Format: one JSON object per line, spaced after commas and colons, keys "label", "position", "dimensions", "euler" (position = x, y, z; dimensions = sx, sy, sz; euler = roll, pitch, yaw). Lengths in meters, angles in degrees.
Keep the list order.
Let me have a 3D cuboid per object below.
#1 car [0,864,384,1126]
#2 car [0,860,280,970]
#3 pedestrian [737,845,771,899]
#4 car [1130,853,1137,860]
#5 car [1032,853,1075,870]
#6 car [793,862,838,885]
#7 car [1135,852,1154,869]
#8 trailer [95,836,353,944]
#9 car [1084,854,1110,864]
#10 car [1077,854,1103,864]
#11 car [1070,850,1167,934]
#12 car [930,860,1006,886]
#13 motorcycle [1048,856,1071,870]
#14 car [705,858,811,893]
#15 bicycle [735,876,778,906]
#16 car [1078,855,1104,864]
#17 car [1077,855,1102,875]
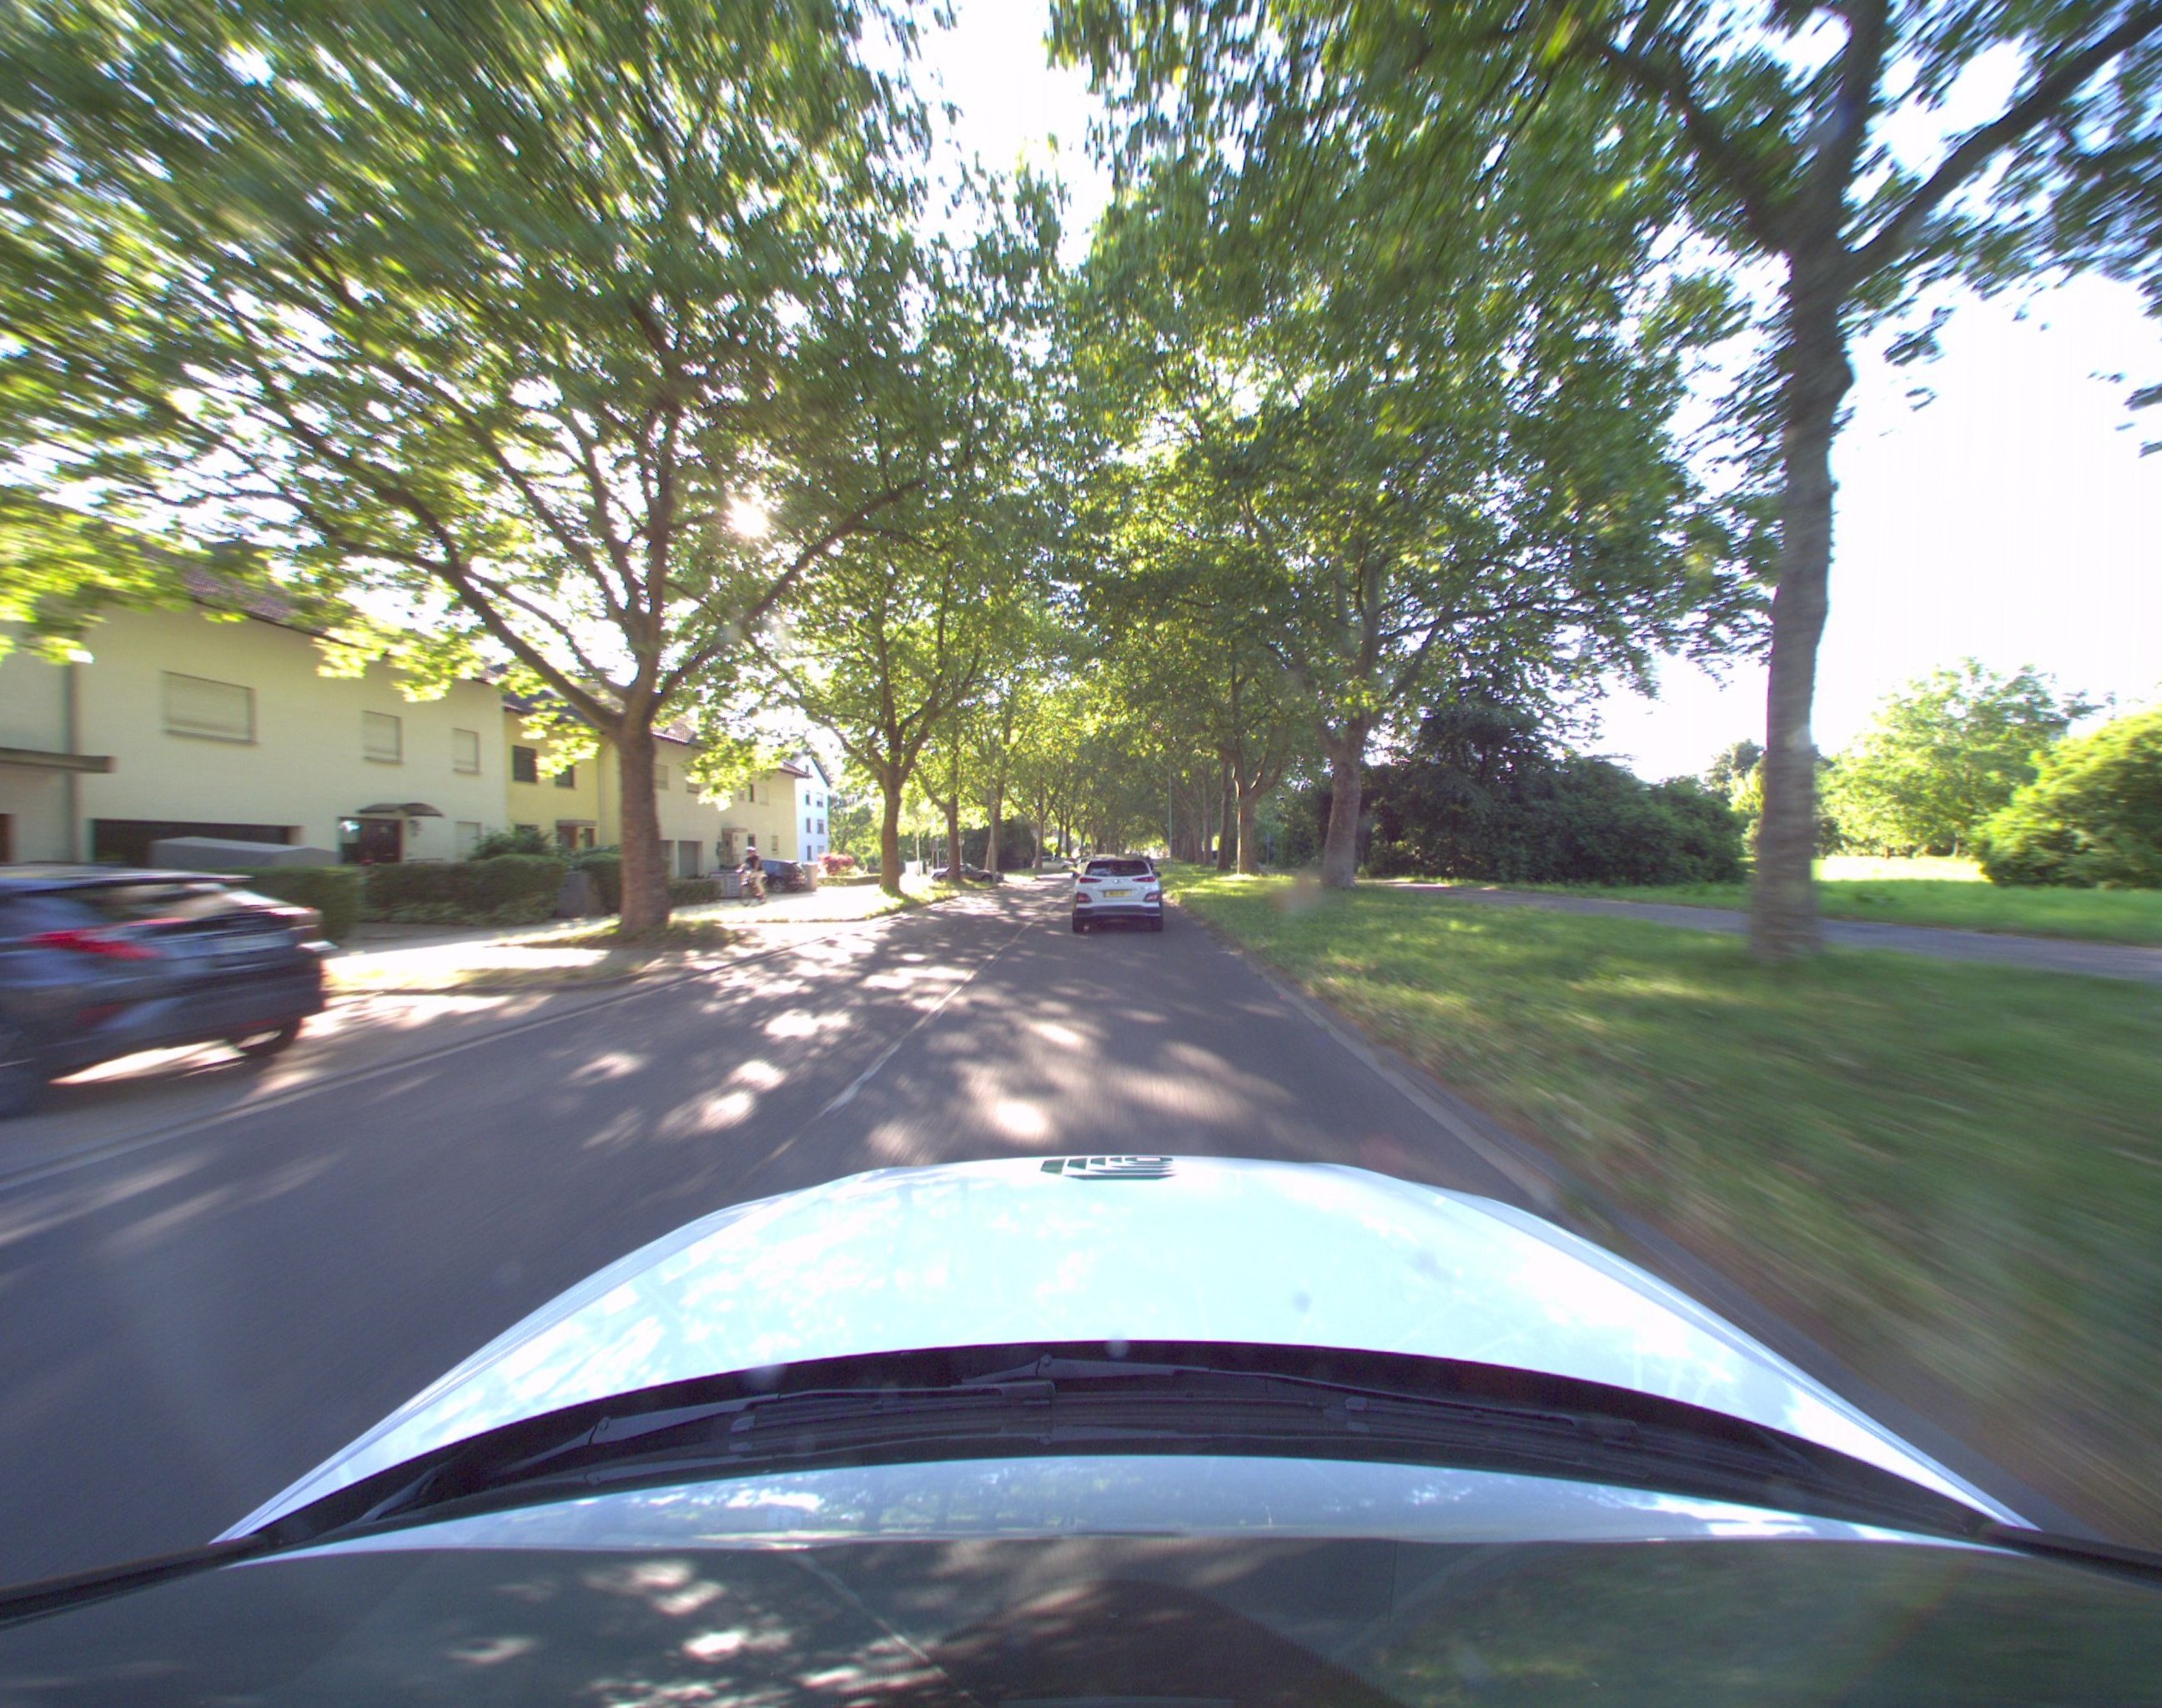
{"label": "car", "position": [-7.701, 0.875, 5.723], "dimensions": [3.975, 1.518, 1.817], "euler": [-1, 0, -1]}
{"label": "car", "position": [-16.090, 0.927, 13.319], "dimensions": [3.971, 1.477, 2.001], "euler": [2, 0, 2]}
{"label": "pedestrian", "position": [-10.836, 0.591, 27.010], "dimensions": [0.614, 1.716, 1.066], "euler": [-1, -1, 2]}
{"label": "car", "position": [11.262, 0.548, 175.631], "dimensions": [1.529, 1.459, 3.188], "euler": [-2, 0, 3]}
{"label": "car", "position": [-2.737, 0.761, 81.598], "dimensions": [4.169, 1.584, 2.000], "euler": [-1, 0, 0]}
{"label": "car", "position": [-19.941, 1.434, 61.270], "dimensions": [1.986, 1.575, 4.001], "euler": [-1, 0, 1]}
{"label": "car", "position": [6.607, 0.655, 84.861], "dimensions": [1.670, 1.696, 3.745], "euler": [-1, 0, 1]}
{"label": "trailer", "position": [-17.228, 0.680, 16.492], "dimensions": [3.441, 1.925, 1.643], "euler": [2, 1, 1]}
{"label": "car", "position": [2.553, 0.797, 131.457], "dimensions": [3.966, 1.470, 1.813], "euler": [-1, 0, 6]}
{"label": "car", "position": [1.517, 0.795, 129.112], "dimensions": [3.969, 1.520, 1.811], "euler": [-1, 0, 4]}
{"label": "car", "position": [0.687, 0.729, 17.586], "dimensions": [1.830, 1.555, 3.998], "euler": [-1, 0, -1]}
{"label": "car", "position": [-6.084, 1.018, 44.260], "dimensions": [3.810, 1.316, 1.791], "euler": [0, 0, 2]}
{"label": "motorcycle", "position": [-2.220, 0.923, 83.995], "dimensions": [2.378, 1.388, 0.648], "euler": [-1, 1, -1]}
{"label": "car", "position": [-14.503, 0.954, 36.724], "dimensions": [3.970, 1.464, 1.903], "euler": [1, 0, 3]}
{"label": "bicycle", "position": [-10.771, 1.205, 27.081], "dimensions": [0.468, 0.880, 2.157], "euler": [-1, 0, 3]}
{"label": "car", "position": [1.505, 0.837, 125.917], "dimensions": [3.972, 1.424, 1.810], "euler": [-1, 0, 1]}
{"label": "car", "position": [0.688, 0.870, 65.640], "dimensions": [1.776, 1.512, 3.842], "euler": [-1, 0, 4]}
